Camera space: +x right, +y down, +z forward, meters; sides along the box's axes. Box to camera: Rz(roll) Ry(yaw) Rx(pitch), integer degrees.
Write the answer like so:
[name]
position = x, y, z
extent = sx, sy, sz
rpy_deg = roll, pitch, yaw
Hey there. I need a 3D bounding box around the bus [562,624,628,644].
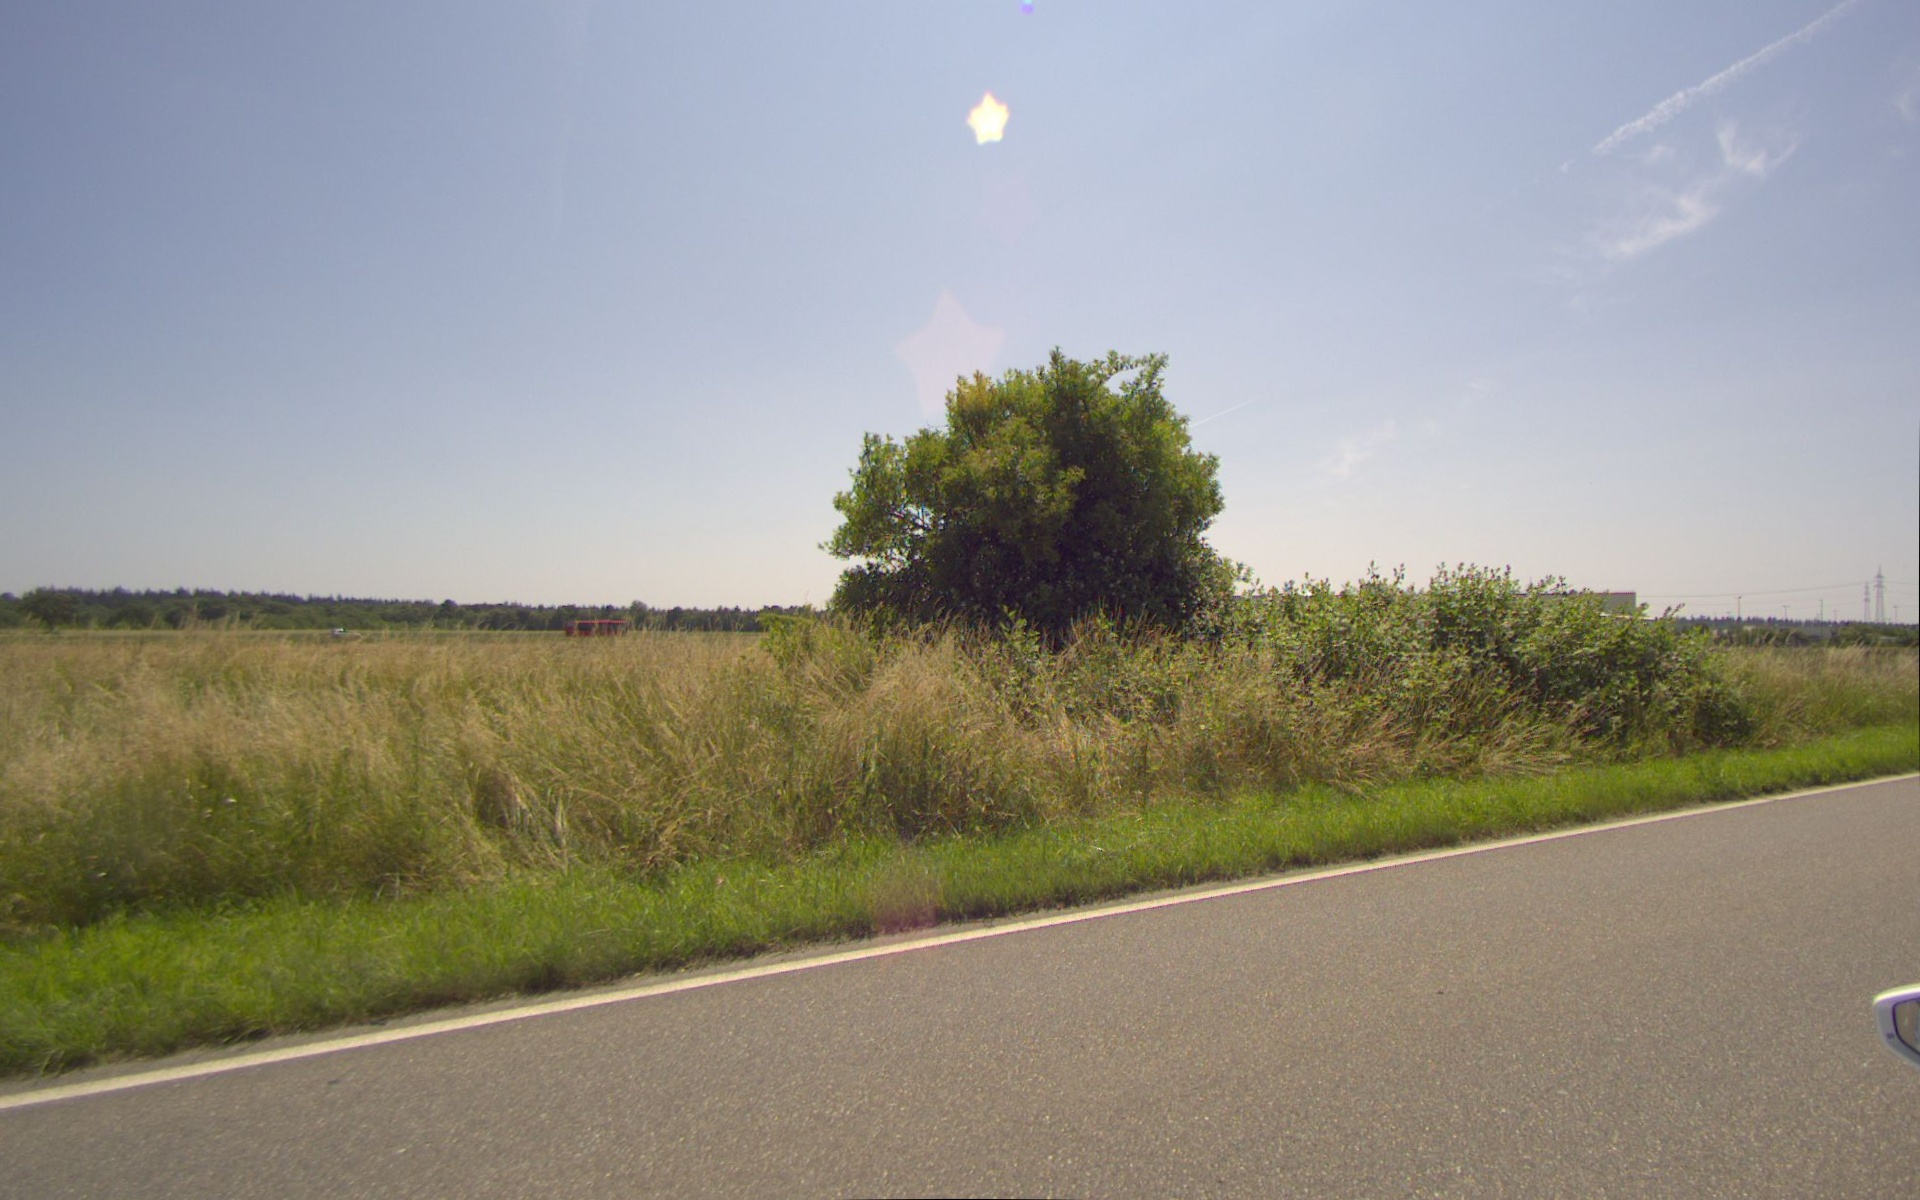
[bus]
position = -63.935, 5.985, 176.356
extent = 3.252, 3.352, 11.979
rpy_deg = -1, -2, 26
